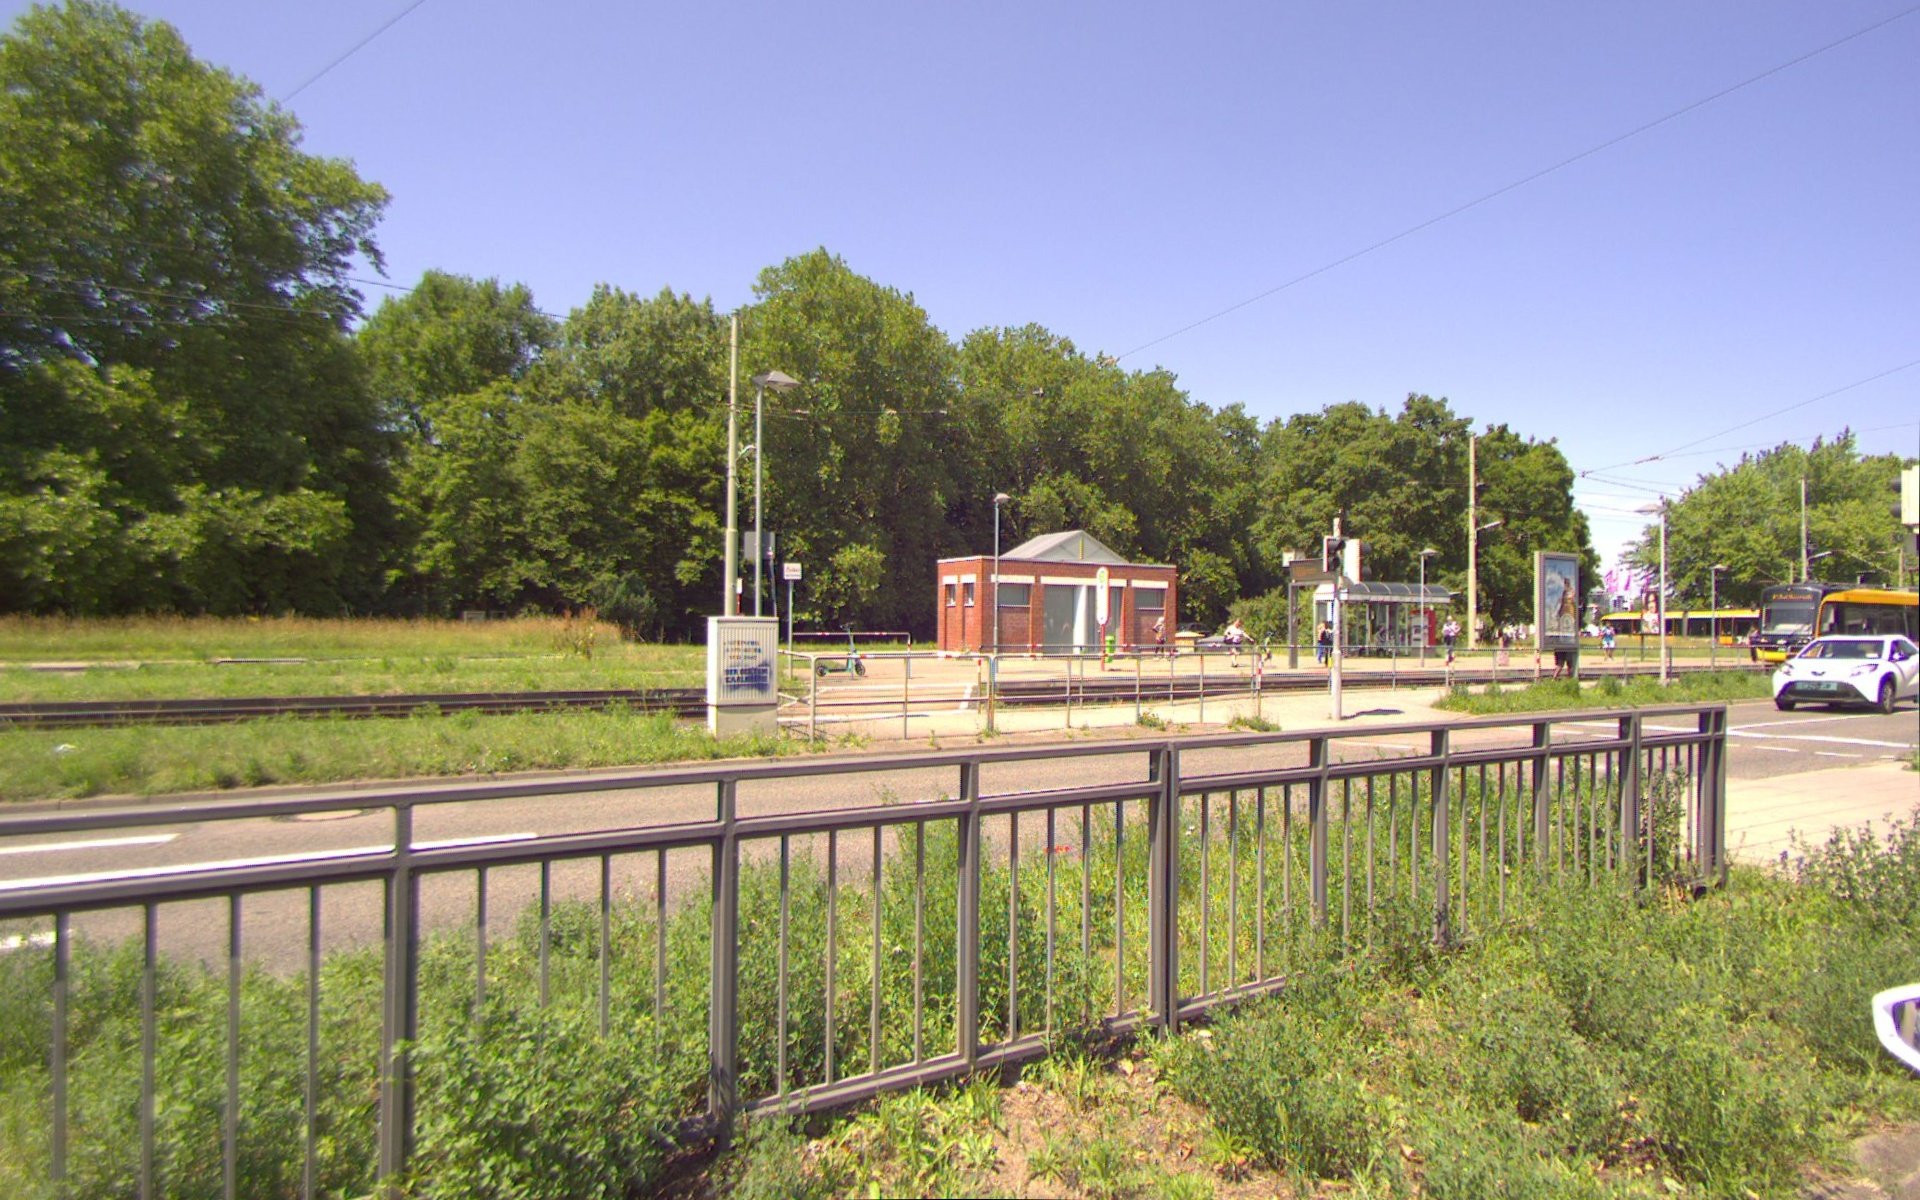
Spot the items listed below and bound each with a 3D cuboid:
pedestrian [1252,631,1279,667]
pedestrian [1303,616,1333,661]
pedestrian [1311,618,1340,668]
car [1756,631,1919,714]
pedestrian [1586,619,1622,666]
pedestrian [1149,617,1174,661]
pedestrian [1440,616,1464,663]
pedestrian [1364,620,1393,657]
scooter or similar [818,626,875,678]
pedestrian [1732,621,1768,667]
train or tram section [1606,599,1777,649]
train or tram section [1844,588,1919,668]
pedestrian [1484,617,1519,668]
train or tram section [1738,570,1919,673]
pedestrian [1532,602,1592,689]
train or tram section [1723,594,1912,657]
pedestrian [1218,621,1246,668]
[{"bbox_3d":[9.849,1.571,32.364,0.563,1.139,0.636,1,-1,-30],"label":"pedestrian"},{"bbox_3d":[12.907,1.394,36.230,0.799,1.611,0.668,1,-1,-30],"label":"pedestrian"},{"bbox_3d":[11.798,1.390,32.397,0.688,1.575,0.629,1,-1,-42],"label":"pedestrian"},{"bbox_3d":[18.130,1.415,20.418,3.747,1.514,1.836,1,-1,-30],"label":"car"},{"bbox_3d":[28.267,1.859,44.092,1.009,2.040,0.976,1,-1,-30],"label":"pedestrian"},{"bbox_3d":[6.942,1.334,34.687,0.563,1.499,0.636,1,-1,-30],"label":"pedestrian"},{"bbox_3d":[19.265,1.546,39.369,0.707,1.824,0.845,0,-1,17],"label":"pedestrian"},{"bbox_3d":[17.241,1.576,41.368,0.710,1.531,0.841,1,-1,-19],"label":"pedestrian"},{"bbox_3d":[-2.641,1.204,23.445,1.217,1.183,0.508,1,-1,-30],"label":"scooter or similar"},{"bbox_3d":[35.483,1.964,45.111,1.009,2.040,0.976,1,-1,-30],"label":"pedestrian"},{"bbox_3d":[64.482,2.091,89.623,3.161,3.984,18.510,1,-1,5],"label":"train or tram section"},{"bbox_3d":[53.533,1.586,57.097,3.174,3.984,18.435,0,-1,36],"label":"train or tram section"},{"bbox_3d":[20.029,1.552,37.148,0.832,1.802,0.714,-1,5,-30],"label":"pedestrian"},{"bbox_3d":[40.906,1.040,45.215,18.293,3.984,3.198,1,-1,-32],"label":"train or tram section"},{"bbox_3d":[13.163,0.967,21.965,0.832,1.802,0.714,-1,5,-30],"label":"pedestrian"},{"bbox_3d":[61.360,1.833,72.878,3.161,3.984,18.508,0,-1,17],"label":"train or tram section"},{"bbox_3d":[8.695,1.416,32.094,0.576,1.476,0.636,1,-1,-30],"label":"pedestrian"}]
